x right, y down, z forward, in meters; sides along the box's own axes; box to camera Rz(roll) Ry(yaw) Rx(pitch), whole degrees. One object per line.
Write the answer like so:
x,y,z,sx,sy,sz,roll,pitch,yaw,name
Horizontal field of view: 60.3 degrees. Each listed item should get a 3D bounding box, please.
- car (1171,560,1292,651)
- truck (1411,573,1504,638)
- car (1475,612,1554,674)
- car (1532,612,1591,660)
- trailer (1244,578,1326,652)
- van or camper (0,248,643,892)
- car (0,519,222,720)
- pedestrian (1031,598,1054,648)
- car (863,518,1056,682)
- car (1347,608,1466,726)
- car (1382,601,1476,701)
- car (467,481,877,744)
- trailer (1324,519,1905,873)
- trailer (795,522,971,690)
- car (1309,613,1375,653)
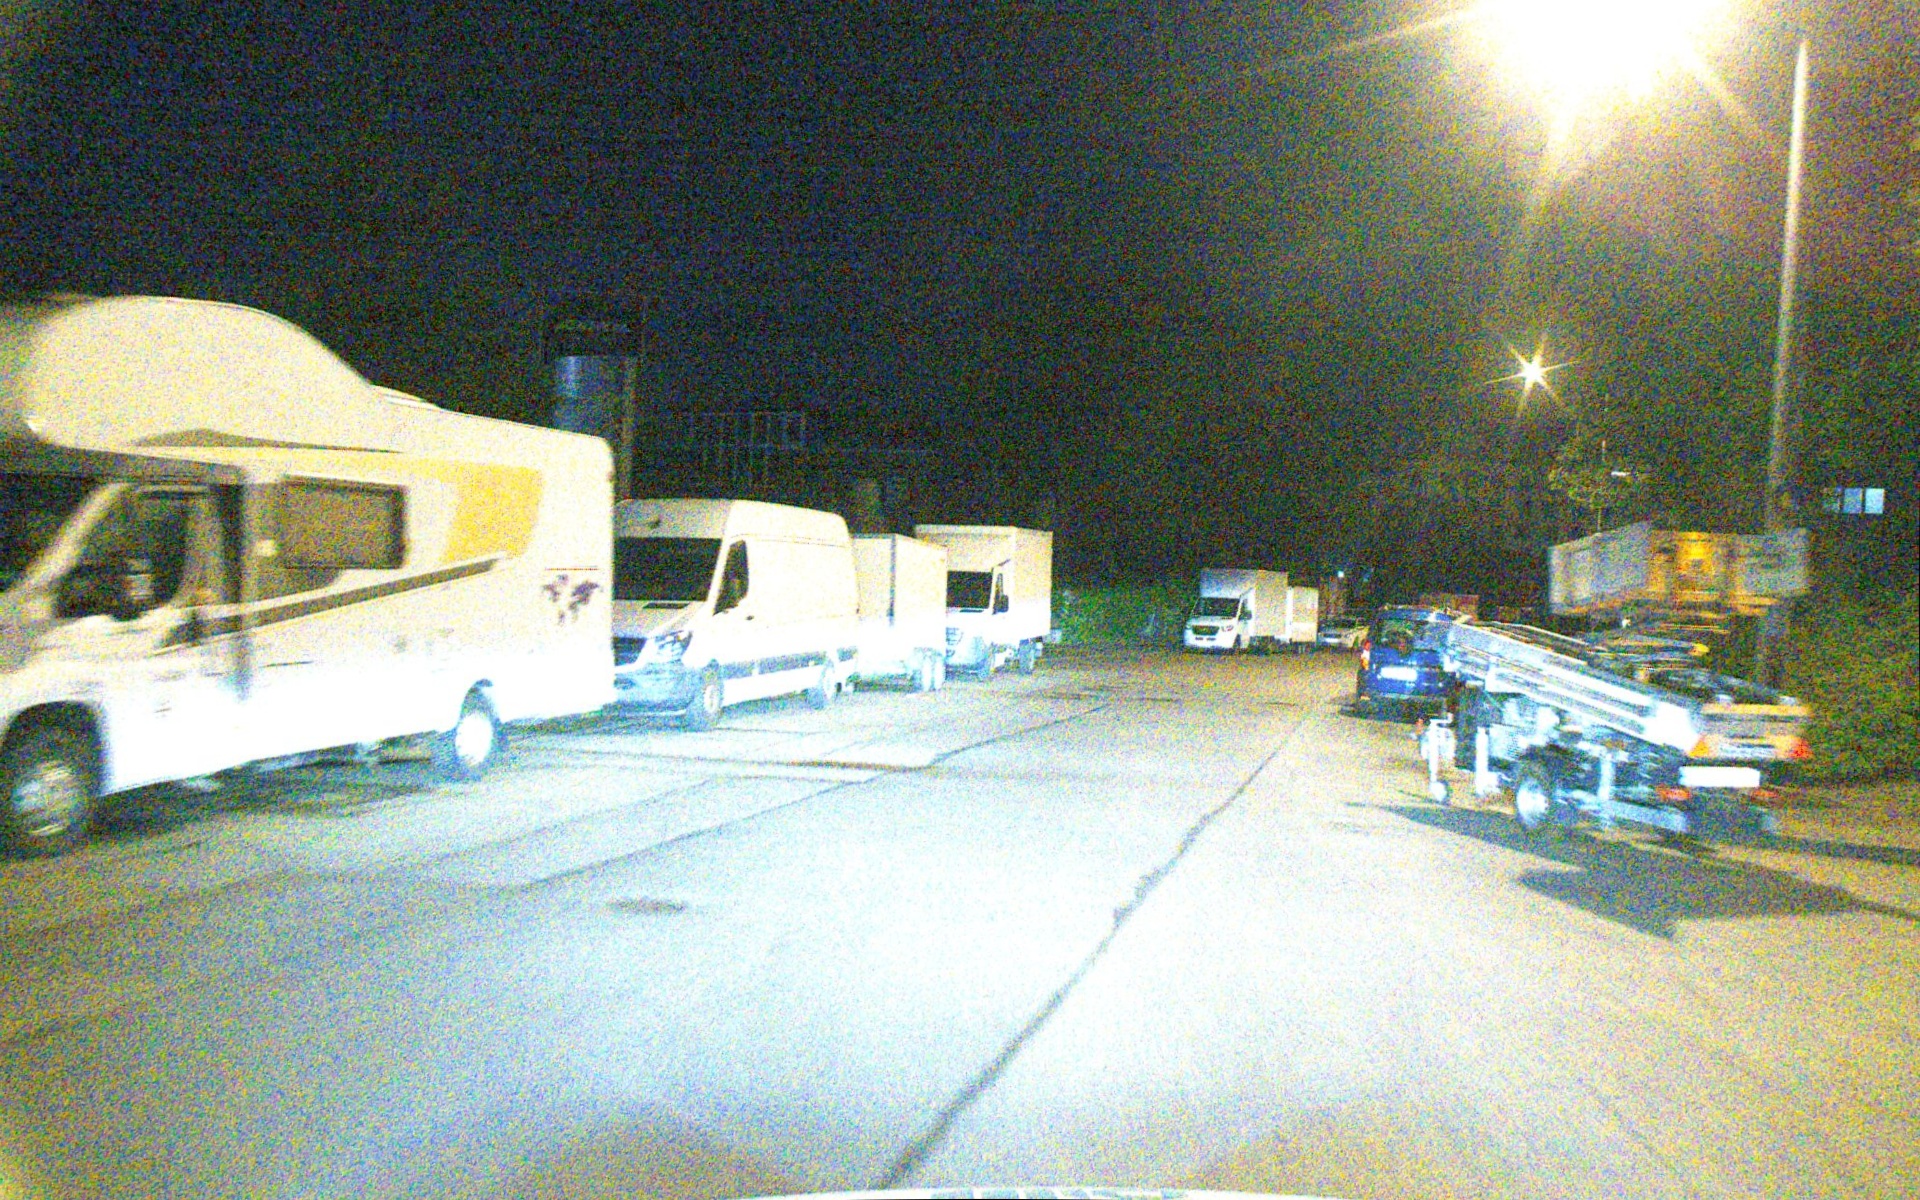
10.468,0.193,63.218,2.470,3.226,7.129,1,1,27,car
28.705,0.348,95.158,1.962,3.462,8.940,5,2,37,truck
18.161,1.398,54.094,1.689,1.852,3.993,4,0,29,car
25.767,1.553,70.777,1.689,1.852,3.993,4,0,29,car
13.564,0.580,68.896,1.956,2.862,4.696,3,2,28,trailer
-5.034,-0.186,11.653,2.465,3.148,7.451,1,1,15,van or camper
-14.840,0.243,24.845,1.962,2.890,6.650,5,2,38,car
2.846,0.788,57.001,0.662,1.681,0.653,2,2,-4,pedestrian
0.176,-0.028,34.139,2.465,2.978,7.207,1,1,12,car
7.402,1.046,27.587,1.684,1.690,4.003,4,1,14,car
9.785,1.016,34.722,1.684,1.852,4.003,4,0,14,car
-3.178,0.081,20.526,2.465,2.651,7.097,1,1,12,car
4.733,0.582,13.003,1.532,2.198,5.204,1,0,-13,trailer
-1.200,0.059,27.477,1.951,2.571,3.571,1,1,14,trailer
18.291,1.570,79.075,1.956,1.729,4.199,4,1,28,car
